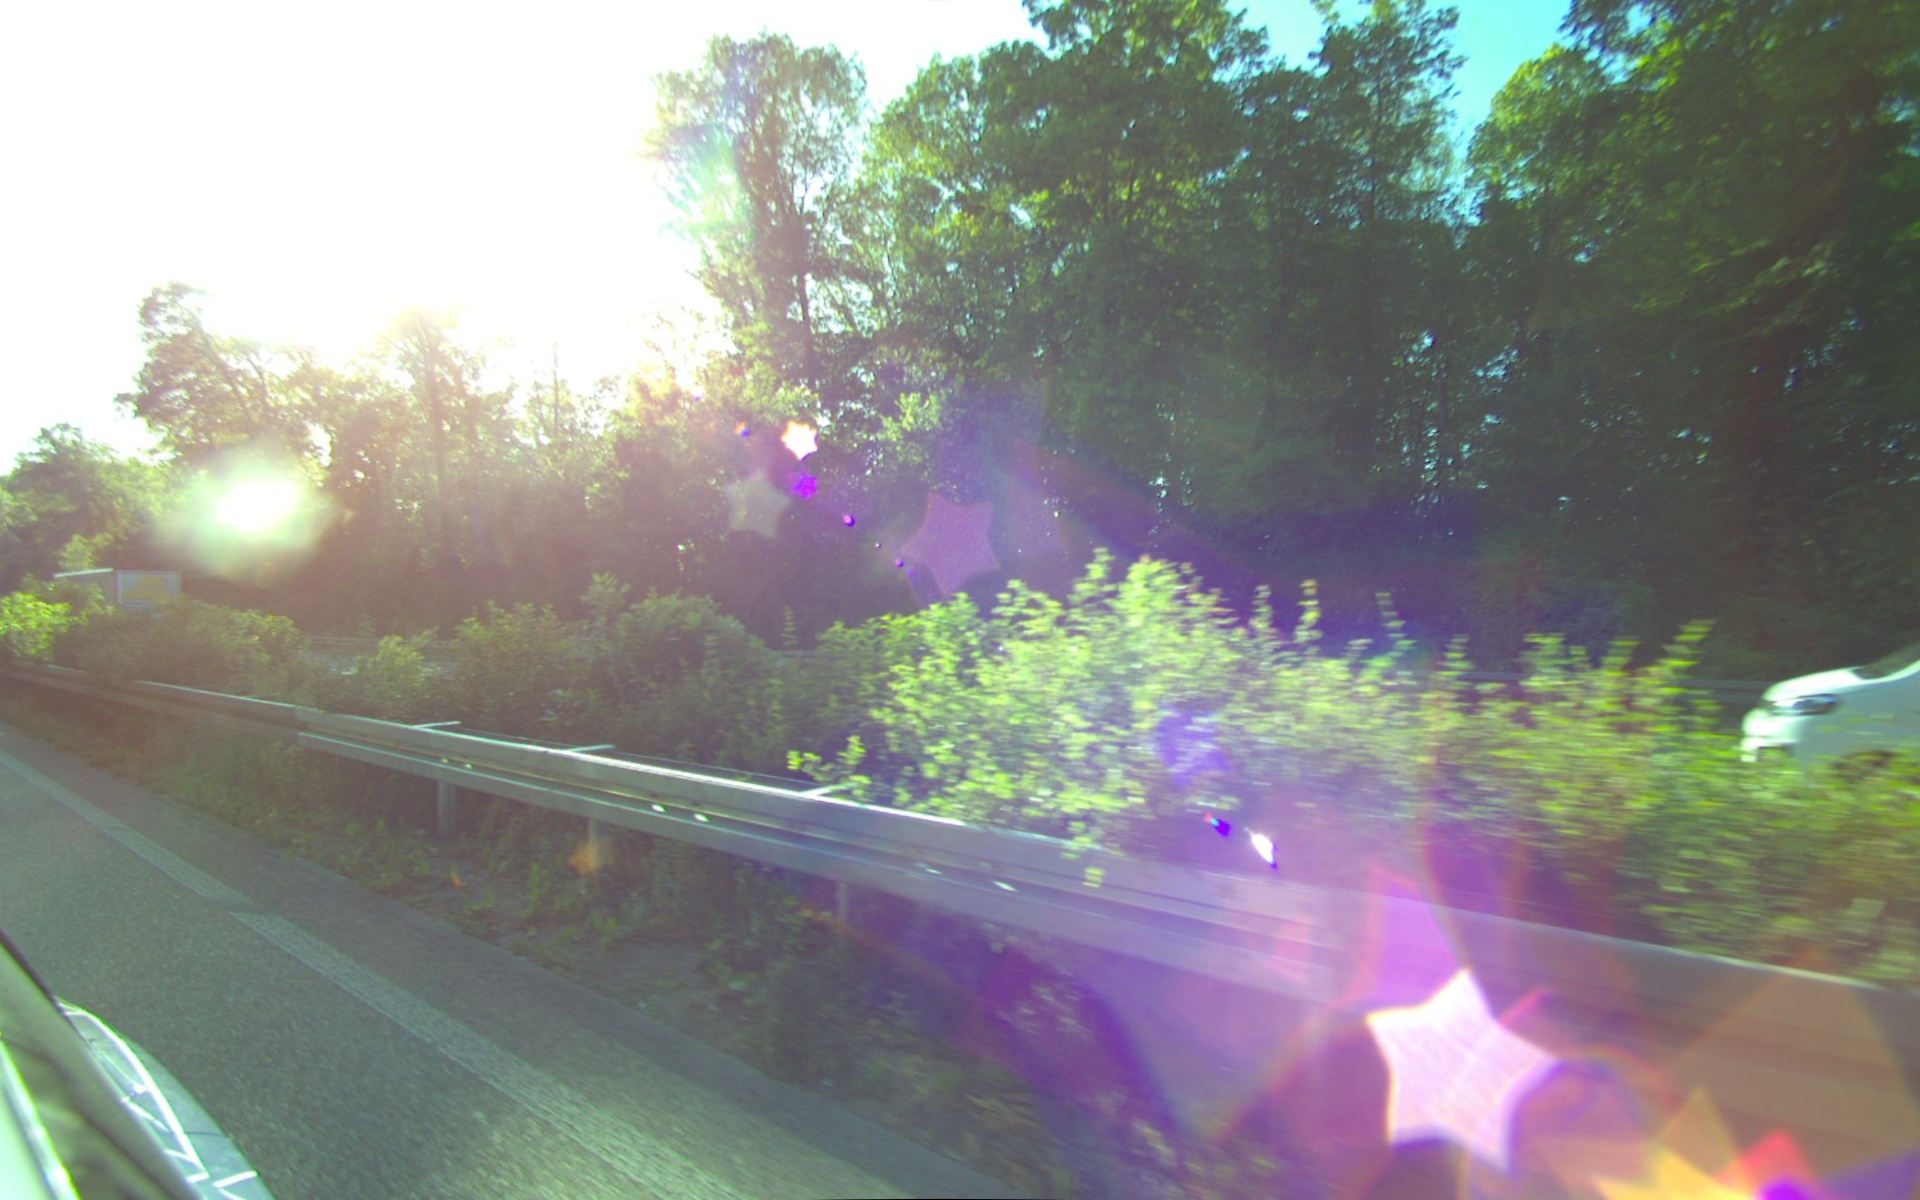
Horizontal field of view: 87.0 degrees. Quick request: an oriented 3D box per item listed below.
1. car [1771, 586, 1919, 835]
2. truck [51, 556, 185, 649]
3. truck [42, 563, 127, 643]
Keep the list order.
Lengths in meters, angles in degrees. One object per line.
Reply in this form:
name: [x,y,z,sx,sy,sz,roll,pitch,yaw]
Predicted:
car: [8.980,0.810,7.422,4.705,1.875,1.974,-1,0,39]
truck: [-42.180,0.129,50.427,14.010,4.127,2.680,-1,0,40]
truck: [-47.633,0.180,55.027,5.432,4.127,2.689,-1,0,40]
